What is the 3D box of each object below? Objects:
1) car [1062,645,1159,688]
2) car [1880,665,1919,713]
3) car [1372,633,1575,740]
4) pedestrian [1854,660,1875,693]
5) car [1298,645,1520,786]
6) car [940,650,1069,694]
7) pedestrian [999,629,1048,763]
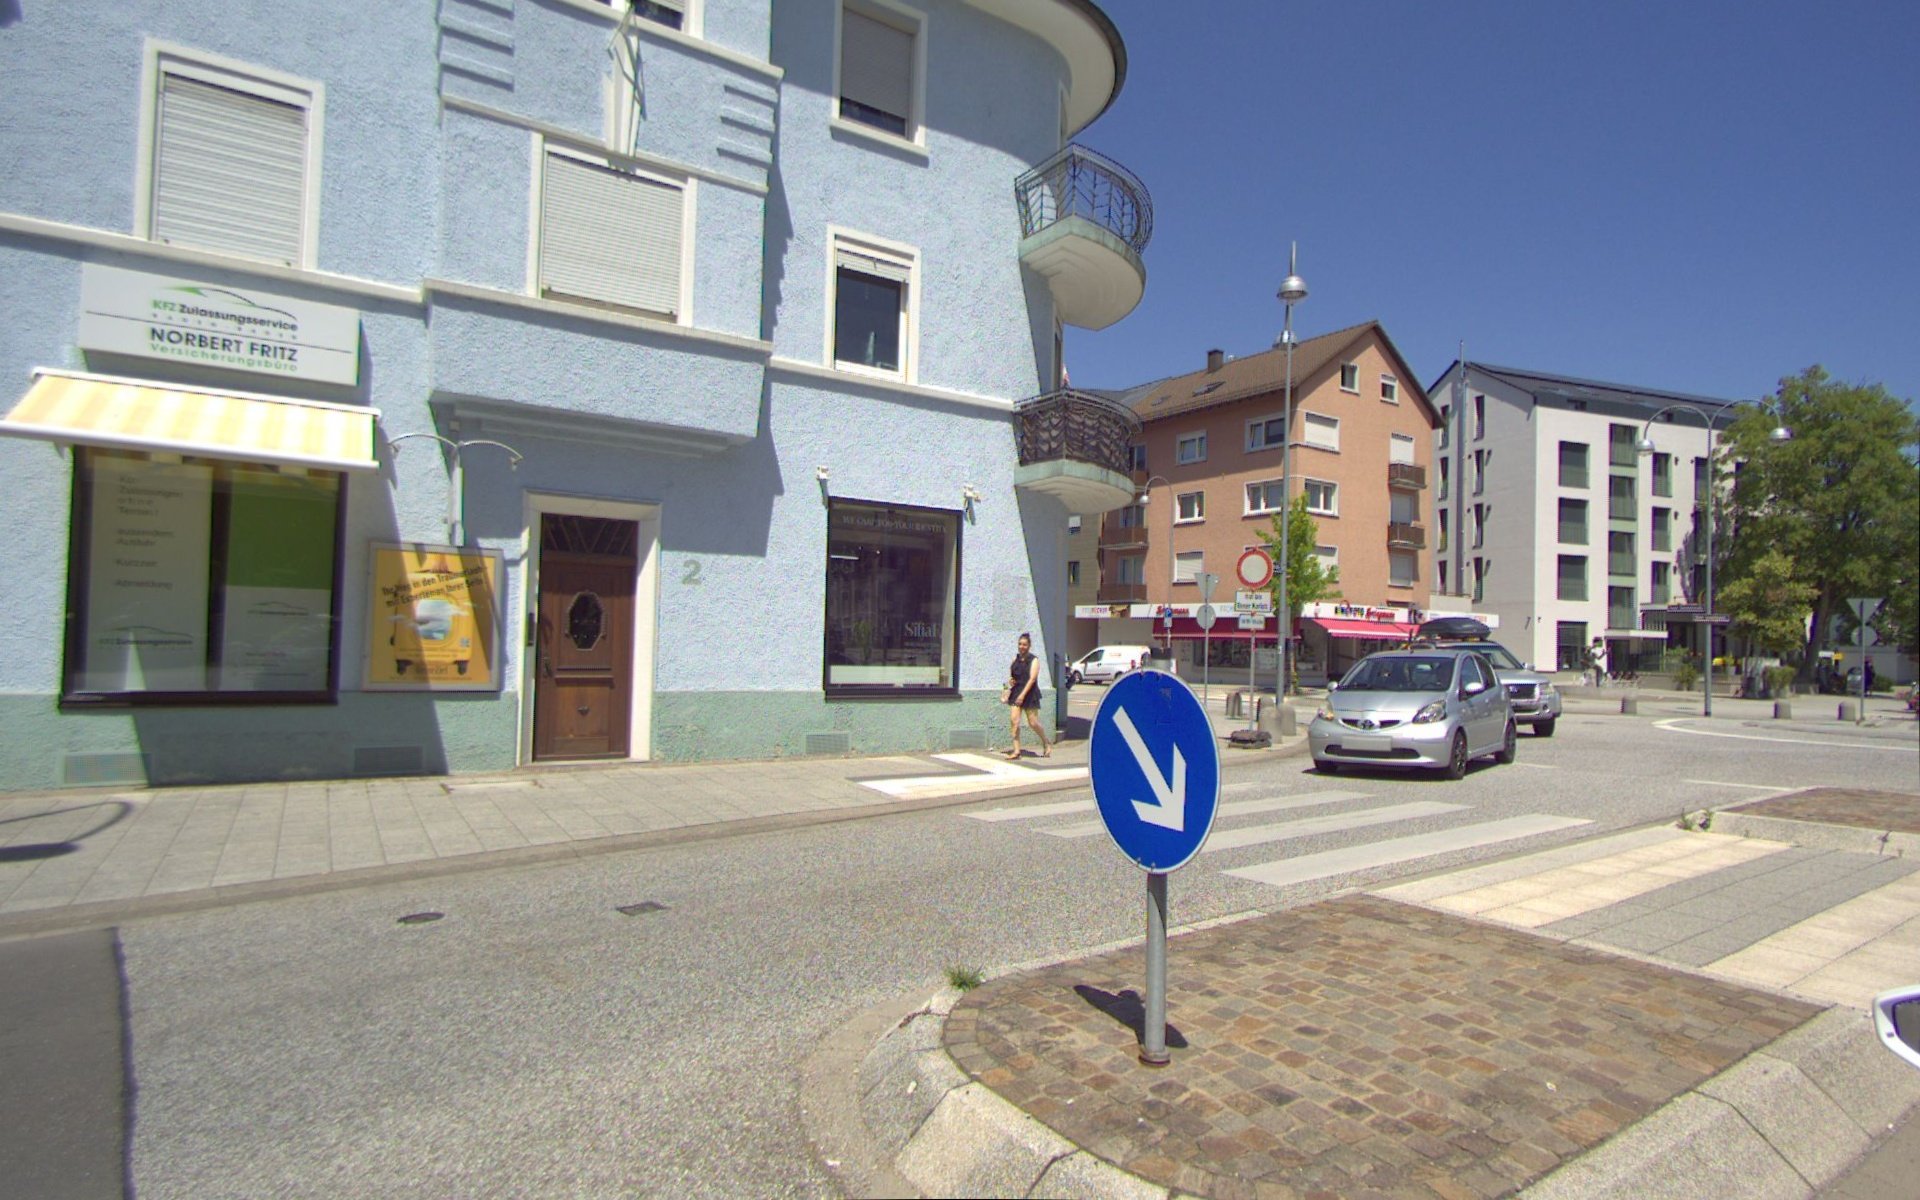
[{"bbox_3d":[6.638,2.894,44.470,3.946,1.772,1.791,-2,-4,44],"label":"car"},{"bbox_3d":[33.162,3.044,34.290,3.965,1.529,1.978,3,-2,-38],"label":"car"},{"bbox_3d":[9.309,1.578,18.636,1.801,1.710,4.206,-2,-4,4],"label":"car"},{"bbox_3d":[44.857,3.789,49.816,0.553,1.596,0.534,2,-2,-19],"label":"pedestrian"},{"bbox_3d":[5.603,1.318,12.342,1.557,1.469,3.454,-4,-5,40],"label":"car"},{"bbox_3d":[1.646,2.560,36.040,4.417,1.421,1.781,-2,-2,9],"label":"car"},{"bbox_3d":[0.796,1.175,12.473,0.535,1.606,0.515,0,-3,11],"label":"pedestrian"}]
